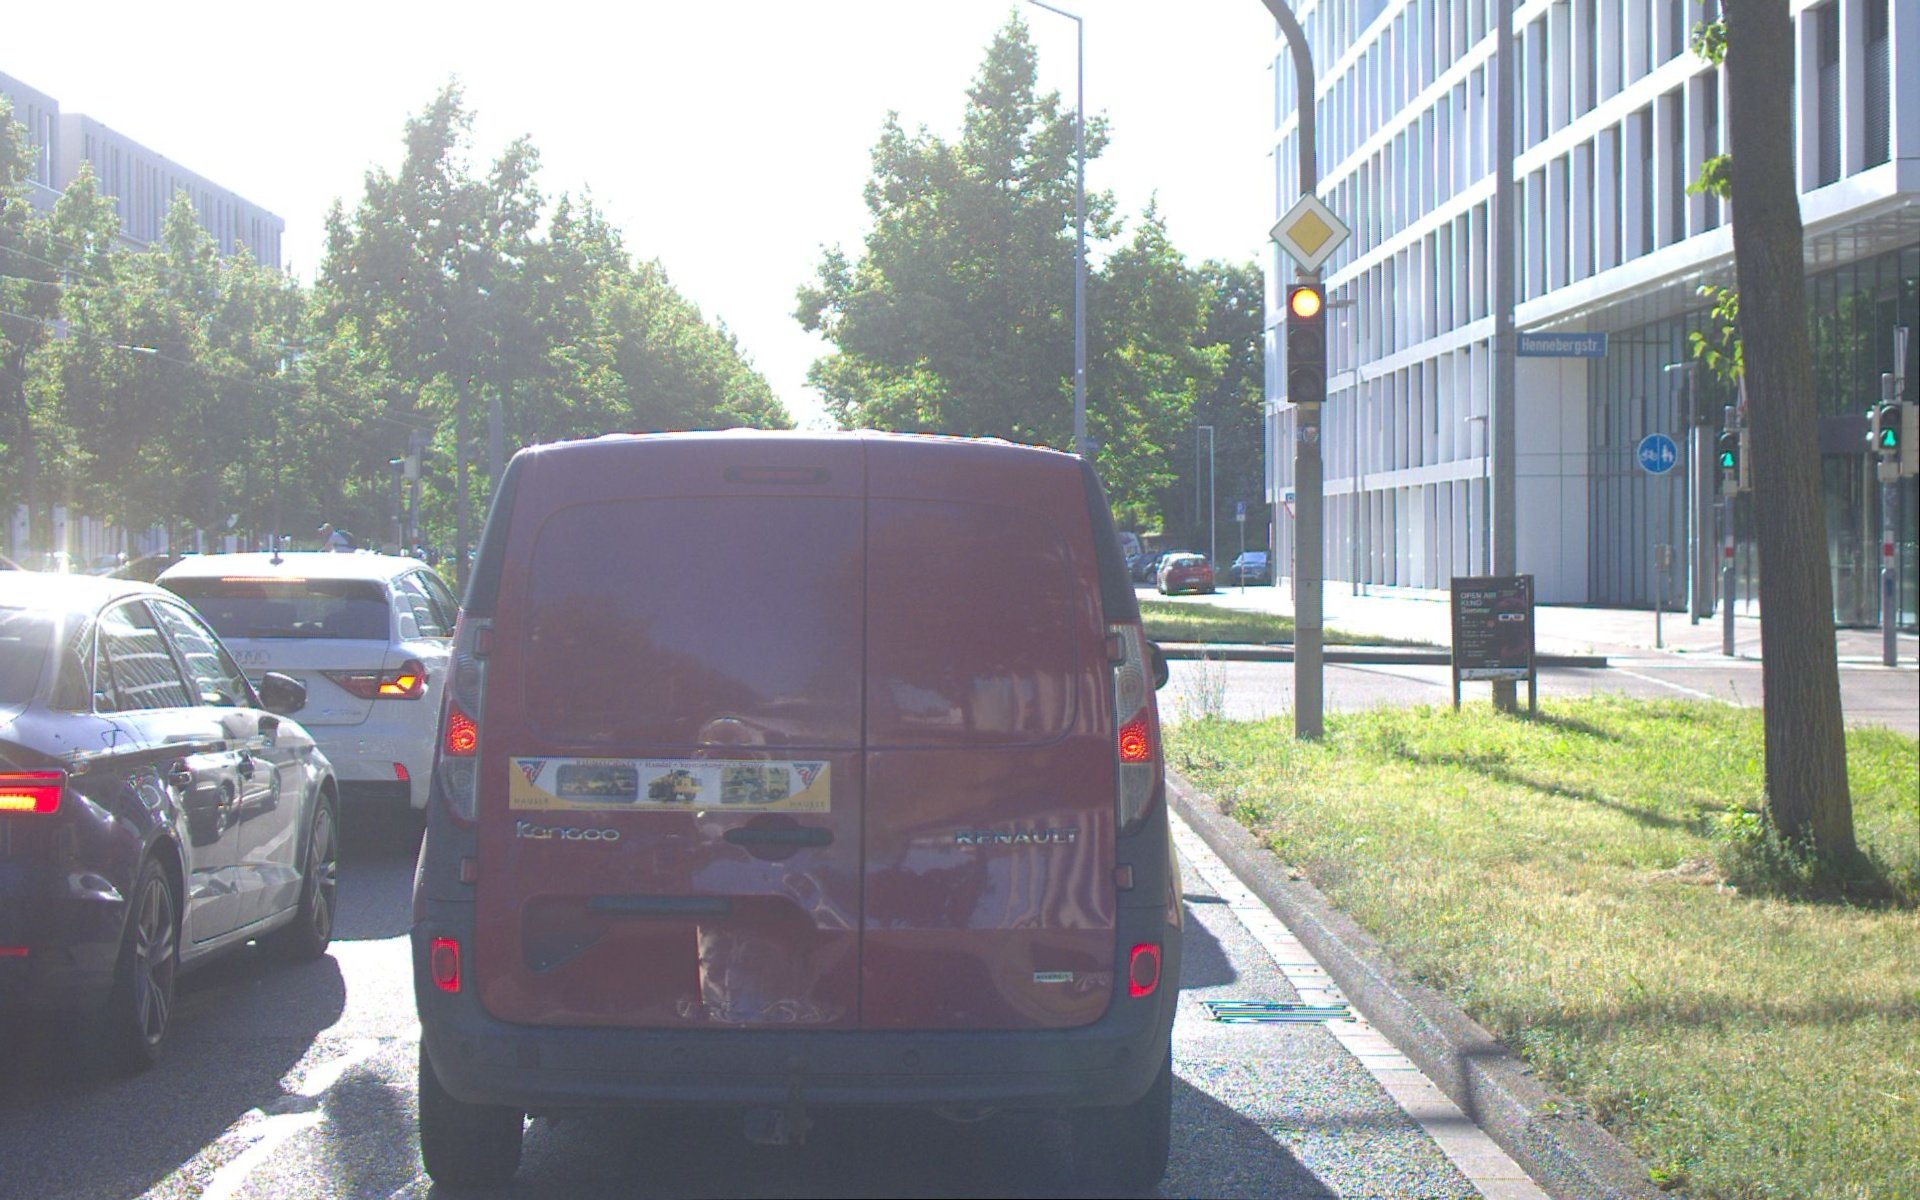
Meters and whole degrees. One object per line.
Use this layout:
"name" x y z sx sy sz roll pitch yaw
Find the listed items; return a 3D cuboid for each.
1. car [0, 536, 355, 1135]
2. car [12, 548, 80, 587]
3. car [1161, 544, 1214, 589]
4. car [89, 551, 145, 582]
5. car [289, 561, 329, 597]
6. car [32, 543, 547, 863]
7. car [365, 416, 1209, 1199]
"car" -3.169 0.563 10.806 1.808 1.522 4.113 0 1 0
"car" -36.171 -1.305 136.115 1.776 1.523 3.806 0 1 -1
"car" 8.456 -1.261 127.880 1.758 1.606 3.903 0 1 1
"car" -36.592 -1.464 149.302 1.580 1.337 3.712 0 1 -1
"car" -37.663 -1.253 198.979 1.728 2.007 4.001 0 1 -3
"car" -3.264 0.428 17.518 1.808 1.430 4.113 0 1 0
"car" -0.365 0.461 9.428 1.808 1.788 4.113 0 1 0
